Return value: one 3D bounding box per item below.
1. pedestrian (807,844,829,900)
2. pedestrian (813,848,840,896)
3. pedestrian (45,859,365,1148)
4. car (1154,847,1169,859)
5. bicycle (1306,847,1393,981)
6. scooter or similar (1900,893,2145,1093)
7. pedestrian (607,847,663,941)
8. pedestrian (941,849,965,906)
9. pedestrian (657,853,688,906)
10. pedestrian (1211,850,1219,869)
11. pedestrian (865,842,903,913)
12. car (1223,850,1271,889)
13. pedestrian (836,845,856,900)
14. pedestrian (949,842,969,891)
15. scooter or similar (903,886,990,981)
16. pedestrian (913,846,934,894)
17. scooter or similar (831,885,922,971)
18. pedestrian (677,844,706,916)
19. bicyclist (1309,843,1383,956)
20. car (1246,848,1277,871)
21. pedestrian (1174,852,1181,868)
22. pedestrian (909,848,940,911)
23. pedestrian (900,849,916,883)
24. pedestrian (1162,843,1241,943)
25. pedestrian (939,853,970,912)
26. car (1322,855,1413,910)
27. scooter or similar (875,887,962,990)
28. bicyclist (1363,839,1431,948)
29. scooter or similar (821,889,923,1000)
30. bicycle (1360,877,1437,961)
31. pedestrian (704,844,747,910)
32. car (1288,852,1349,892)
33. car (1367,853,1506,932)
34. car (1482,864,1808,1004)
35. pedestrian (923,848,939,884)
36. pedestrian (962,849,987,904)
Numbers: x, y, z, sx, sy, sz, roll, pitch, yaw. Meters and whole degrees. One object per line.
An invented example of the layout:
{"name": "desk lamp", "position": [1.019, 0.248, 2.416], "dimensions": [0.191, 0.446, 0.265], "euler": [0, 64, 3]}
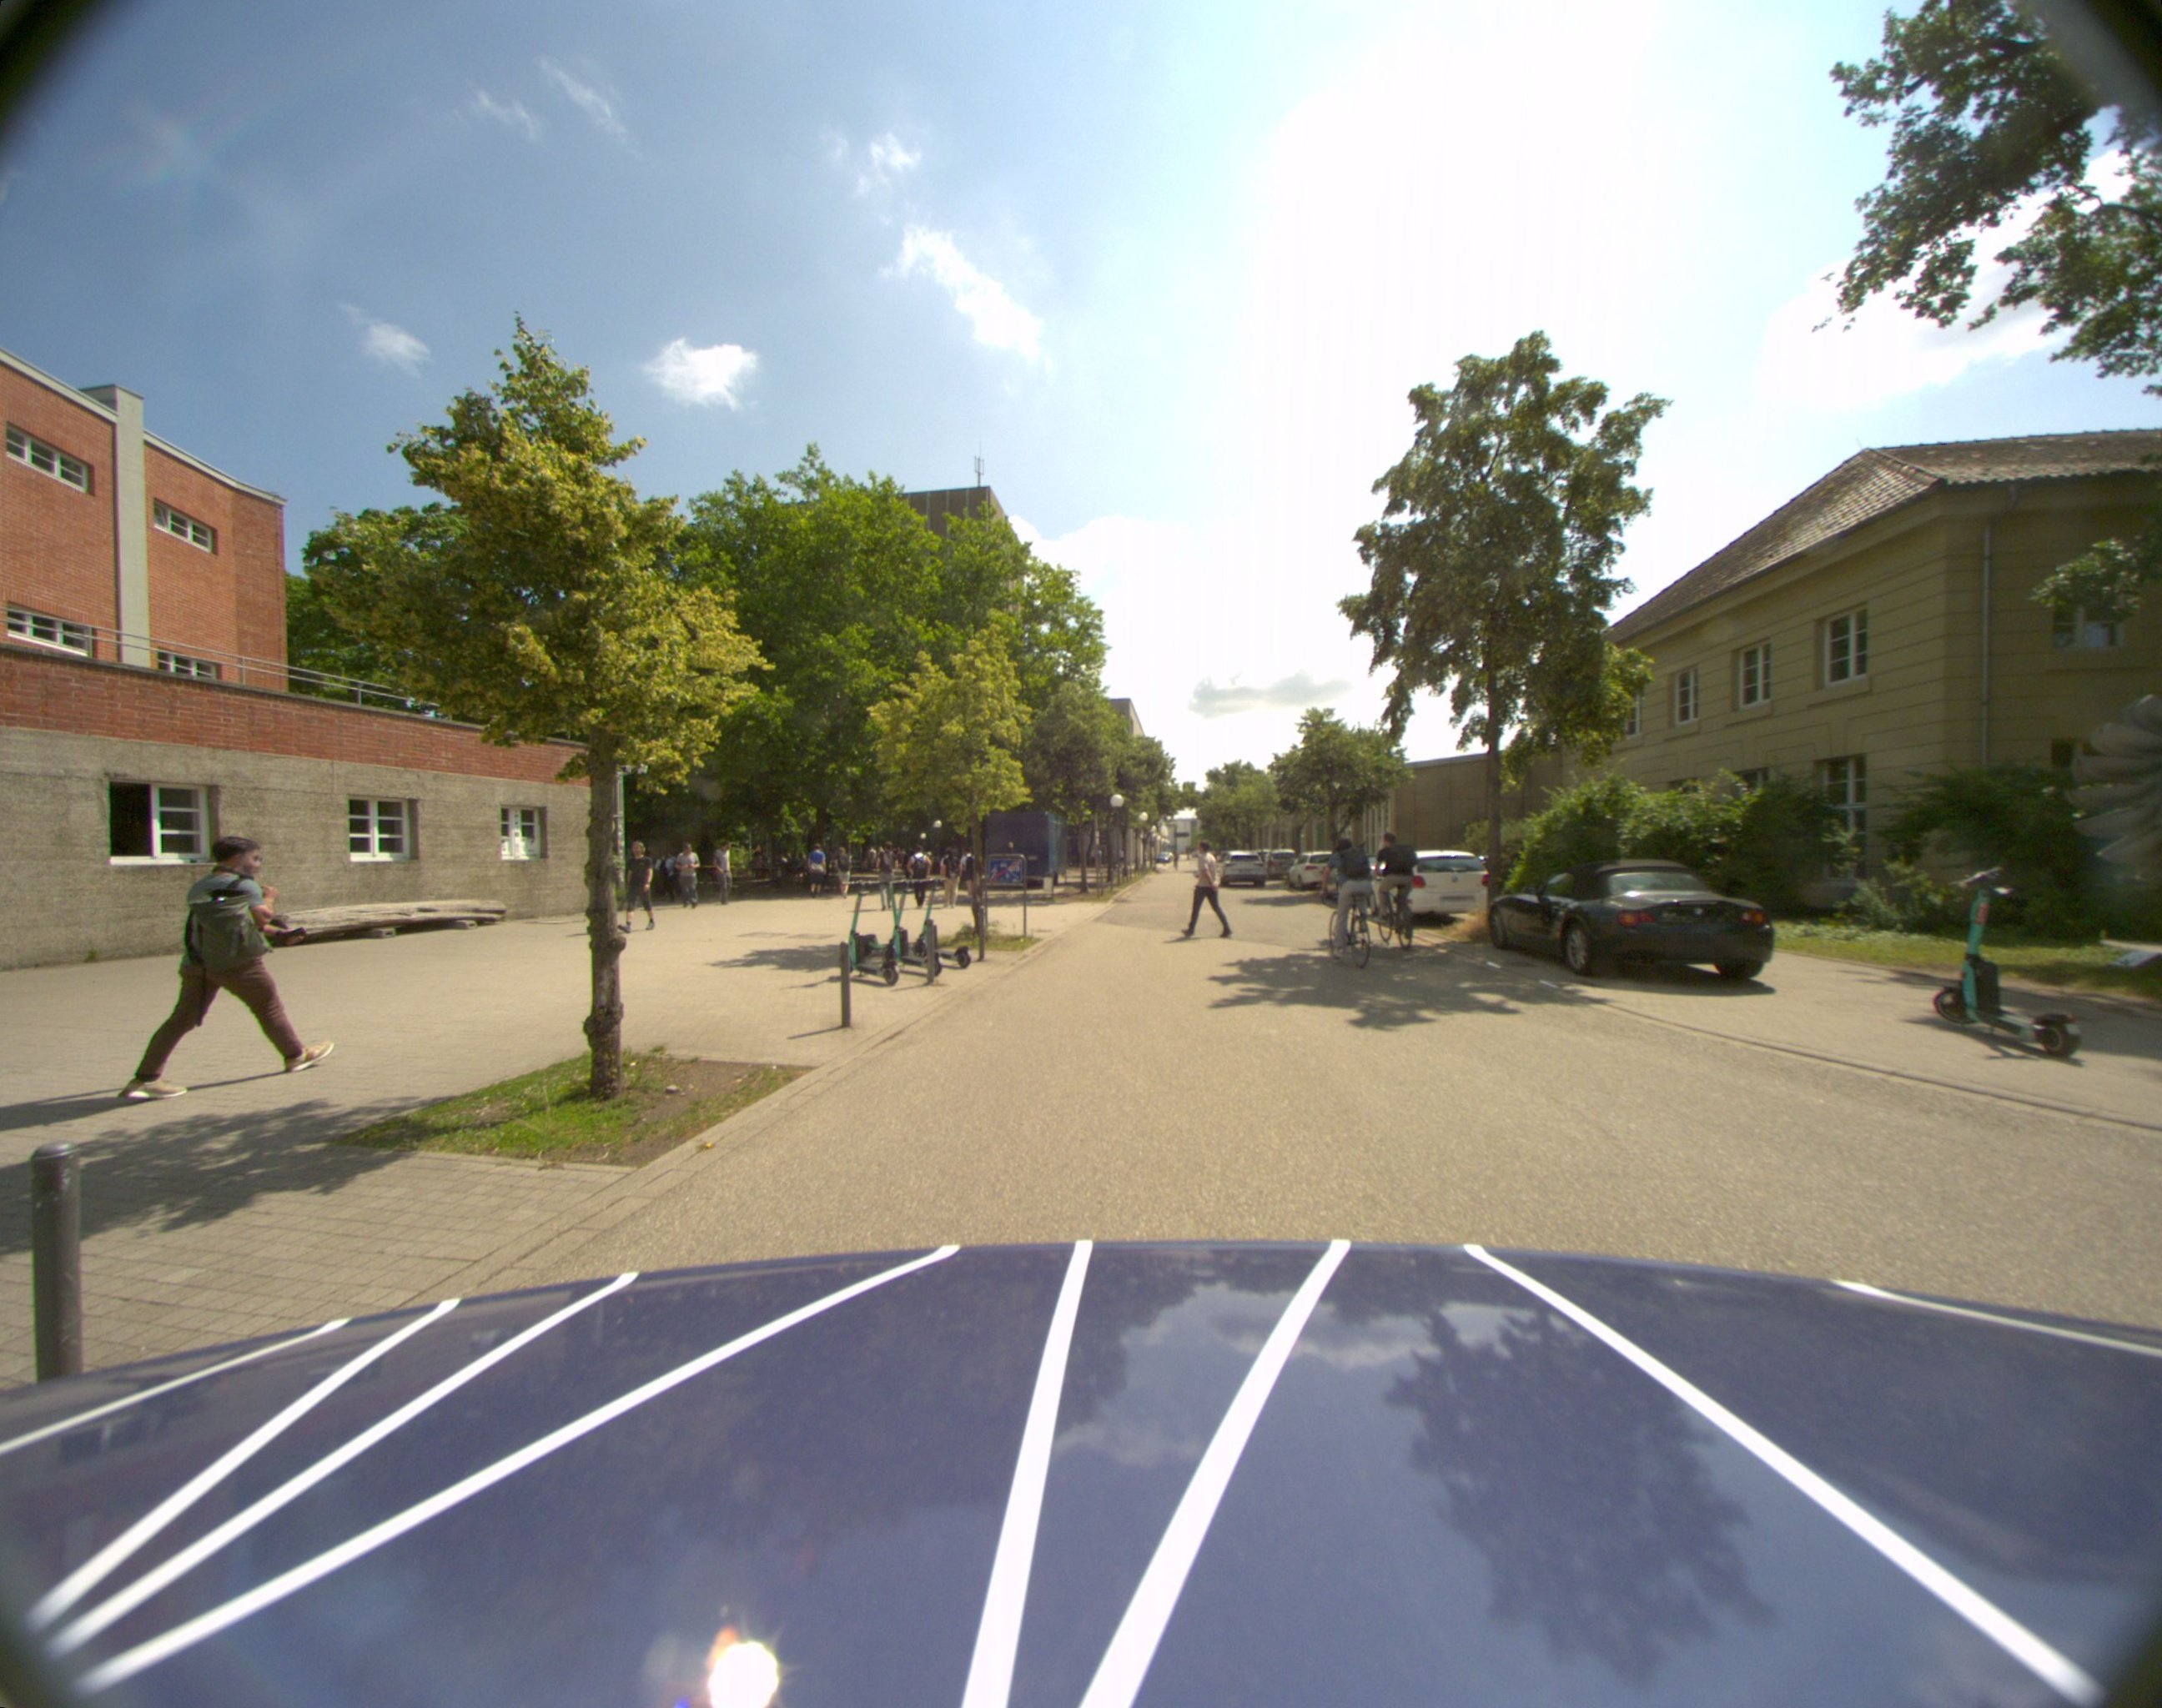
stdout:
{"name": "pedestrian", "position": [-8.573, 0.584, 24.798], "dimensions": [0.566, 1.783, 0.644], "euler": [0, 1, -12]}
{"name": "pedestrian", "position": [-9.498, 0.660, 28.379], "dimensions": [0.668, 1.755, 0.798], "euler": [-1, 0, 6]}
{"name": "pedestrian", "position": [-5.658, 0.880, 5.003], "dimensions": [0.784, 1.666, 1.079], "euler": [0, 2, 5]}
{"name": "car", "position": [11.116, -0.134, 104.436], "dimensions": [1.997, 1.648, 4.002], "euler": [-1, 1, 6]}
{"name": "bicycle", "position": [3.593, 0.741, 10.319], "dimensions": [0.588, 1.670, 1.759], "euler": [-1, 1, 1]}
{"name": "scooter or similar", "position": [6.700, 0.922, 5.493], "dimensions": [0.470, 1.209, 1.206], "euler": [0, 1, 13]}
{"name": "pedestrian", "position": [-8.638, 0.751, 14.737], "dimensions": [0.586, 1.768, 0.799], "euler": [0, 2, 0]}
{"name": "pedestrian", "position": [-4.013, 0.716, 23.848], "dimensions": [0.603, 1.742, 0.763], "euler": [-1, 1, -20]}
{"name": "pedestrian", "position": [-13.044, 0.827, 24.263], "dimensions": [0.777, 1.645, 0.567], "euler": [-4, -2, 39]}
{"name": "pedestrian", "position": [12.410, 0.512, 70.283], "dimensions": [0.536, 1.672, 0.587], "euler": [0, 1, 27]}
{"name": "pedestrian", "position": [-5.474, 0.637, 21.118], "dimensions": [0.983, 1.934, 0.977], "euler": [-1, 1, -16]}
{"name": "car", "position": [7.553, 0.654, 34.903], "dimensions": [1.931, 1.624, 4.375], "euler": [-1, 0, 9]}
{"name": "pedestrian", "position": [-7.744, 0.596, 25.070], "dimensions": [0.541, 1.783, 0.644], "euler": [0, 1, -11]}
{"name": "pedestrian", "position": [-4.718, 0.472, 29.335], "dimensions": [0.640, 1.859, 0.537], "euler": [-1, 1, -19]}
{"name": "scooter or similar", "position": [-1.928, 1.091, 10.837], "dimensions": [1.261, 1.226, 0.577], "euler": [0, 0, 43]}
{"name": "pedestrian", "position": [-5.707, 0.563, 27.539], "dimensions": [0.640, 1.697, 0.713], "euler": [-1, 1, -19]}
{"name": "scooter or similar", "position": [-3.116, 1.097, 11.697], "dimensions": [0.575, 1.173, 1.480], "euler": [0, 0, 22]}
{"name": "pedestrian", "position": [-10.673, 0.718, 20.797], "dimensions": [0.567, 1.917, 0.888], "euler": [-2, -2, -32]}
{"name": "bicyclist", "position": [3.584, 0.582, 10.360], "dimensions": [0.587, 1.444, 1.233], "euler": [-1, 1, 1]}
{"name": "car", "position": [13.397, 0.359, 56.511], "dimensions": [1.931, 1.624, 4.375], "euler": [-1, 0, 9]}
{"name": "pedestrian", "position": [8.203, 0.507, 64.583], "dimensions": [0.585, 1.433, 0.639], "euler": [0, 1, 10]}
{"name": "pedestrian", "position": [-4.471, 0.717, 21.731], "dimensions": [0.782, 1.781, 0.714], "euler": [-1, 1, -19]}
{"name": "pedestrian", "position": [-7.897, 0.549, 34.664], "dimensions": [0.639, 1.548, 0.574], "euler": [0, 1, -8]}
{"name": "pedestrian", "position": [2.258, 0.696, 14.260], "dimensions": [0.985, 1.776, 1.092], "euler": [-1, 1, -41]}
{"name": "pedestrian", "position": [-3.690, 0.808, 22.110], "dimensions": [0.751, 1.663, 0.845], "euler": [-1, 1, -19]}
{"name": "car", "position": [8.039, 0.755, 21.645], "dimensions": [1.647, 1.368, 4.003], "euler": [-1, 0, 9]}
{"name": "scooter or similar", "position": [-2.164, 1.079, 10.054], "dimensions": [1.140, 1.236, 0.577], "euler": [0, 0, 43]}
{"name": "bicyclist", "position": [4.920, 0.581, 11.905], "dimensions": [0.629, 1.597, 1.329], "euler": [-1, 1, 6]}
{"name": "scooter or similar", "position": [-2.597, 1.069, 9.376], "dimensions": [1.352, 1.223, 0.577], "euler": [0, 0, 43]}
{"name": "bicycle", "position": [4.908, 0.969, 11.851], "dimensions": [0.626, 1.135, 1.813], "euler": [-1, 1, 7]}
{"name": "pedestrian", "position": [-10.434, 0.676, 22.291], "dimensions": [0.970, 1.875, 0.670], "euler": [-3, -2, 33]}
{"name": "car", "position": [9.257, 0.654, 29.854], "dimensions": [1.716, 1.424, 4.003], "euler": [-1, 0, 9]}
{"name": "car", "position": [7.233, 0.721, 15.840], "dimensions": [1.634, 1.423, 3.635], "euler": [-1, 0, 8]}
{"name": "car", "position": [6.548, 0.818, 9.401], "dimensions": [1.699, 1.287, 3.764], "euler": [-1, 1, 9]}
{"name": "pedestrian", "position": [-6.893, 0.537, 34.975], "dimensions": [0.639, 1.629, 0.563], "euler": [0, 1, -4]}
{"name": "pedestrian", "position": [-3.379, 0.705, 24.112], "dimensions": [0.623, 1.729, 0.773], "euler": [-1, 1, -20]}
